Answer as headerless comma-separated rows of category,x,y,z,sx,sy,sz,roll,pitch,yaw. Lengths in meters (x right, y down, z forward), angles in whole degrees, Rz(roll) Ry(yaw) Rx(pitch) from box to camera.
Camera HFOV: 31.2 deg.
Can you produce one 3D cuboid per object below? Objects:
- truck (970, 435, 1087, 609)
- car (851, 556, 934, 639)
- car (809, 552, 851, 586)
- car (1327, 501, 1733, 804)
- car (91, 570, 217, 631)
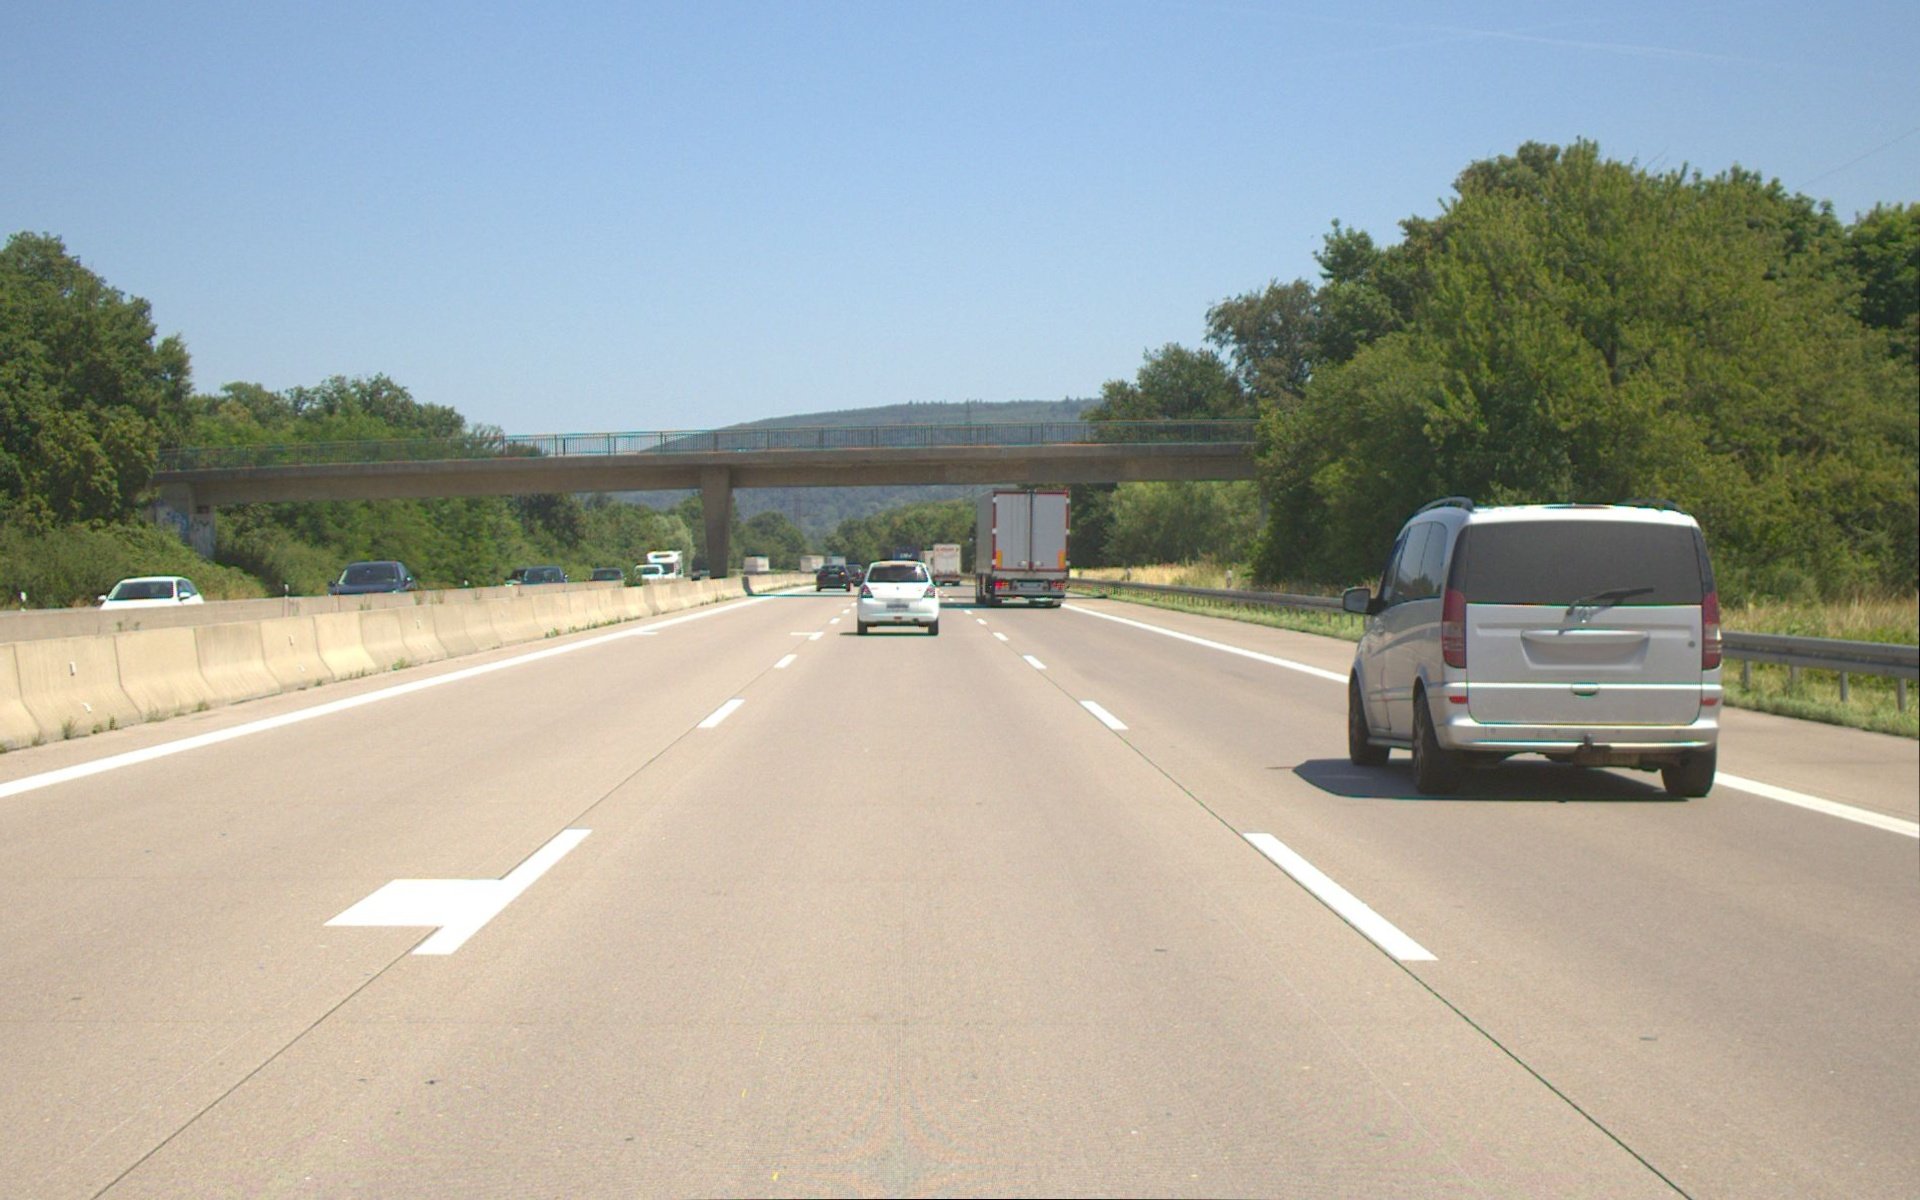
truck,2.290,-2.690,122.727,3.577,5.767,18.248,0,1,-1
car,-1.392,-0.076,71.273,1.641,1.656,3.360,1,1,-1
car,-6.776,-1.595,178.468,2.022,1.695,4.001,1,0,-4
car,3.838,0.290,24.084,1.879,1.882,5.280,0,1,-1
car,-17.852,-0.013,76.349,1.688,1.259,4.791,-1,1,-1
